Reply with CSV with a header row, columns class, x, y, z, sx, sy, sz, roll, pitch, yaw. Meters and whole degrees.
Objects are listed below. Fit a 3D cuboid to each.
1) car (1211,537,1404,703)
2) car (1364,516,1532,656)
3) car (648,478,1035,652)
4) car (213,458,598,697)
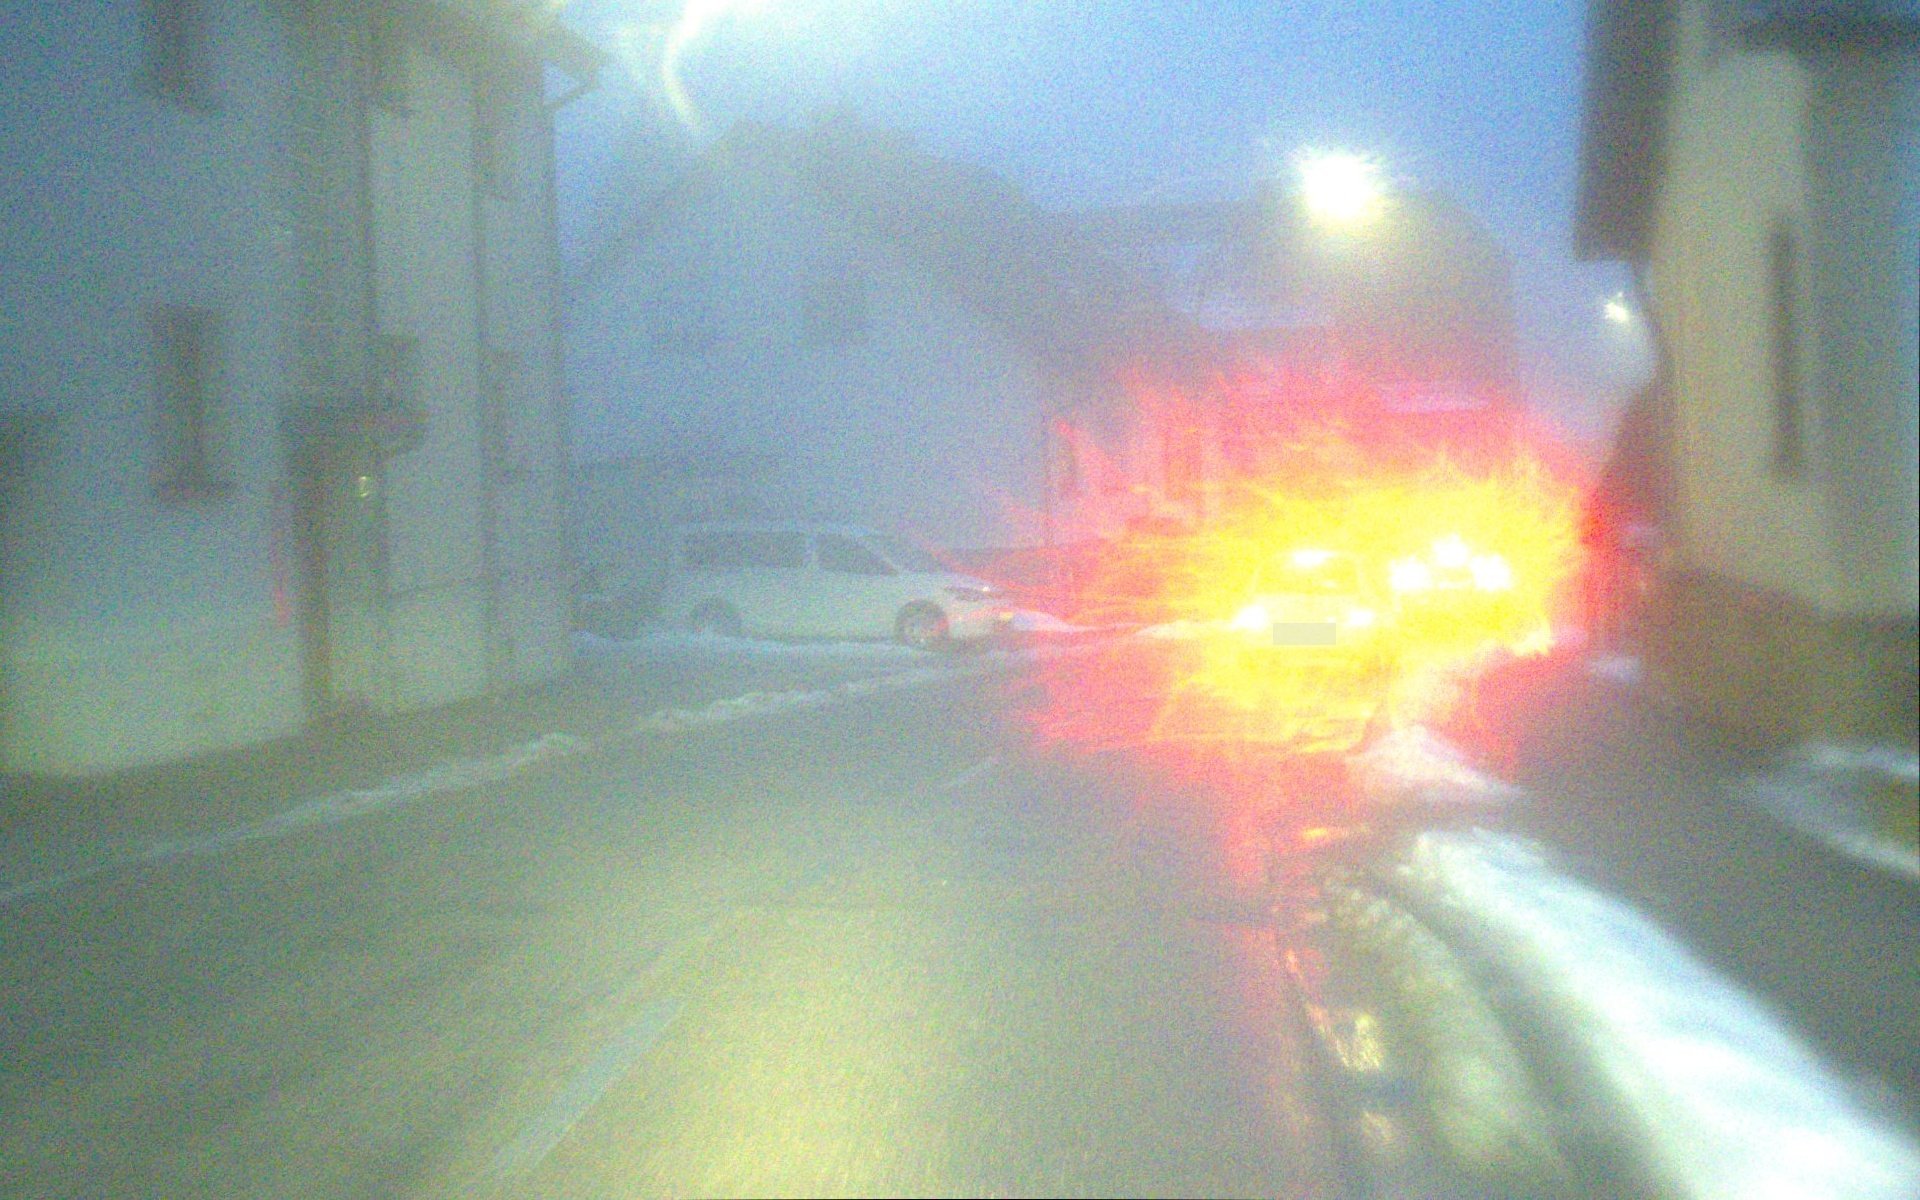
class,x,y,z,sx,sy,sz,roll,pitch,yaw
car,4.138,0.194,40.381,1.994,1.502,4.000,-3,4,9
car,7.894,-0.254,55.281,1.995,1.831,3.998,-3,4,17
car,-1.599,-0.478,46.741,4.737,2.006,1.999,-3,4,20
car,-6.213,-0.294,38.401,3.986,2.269,2.001,-5,4,-11
